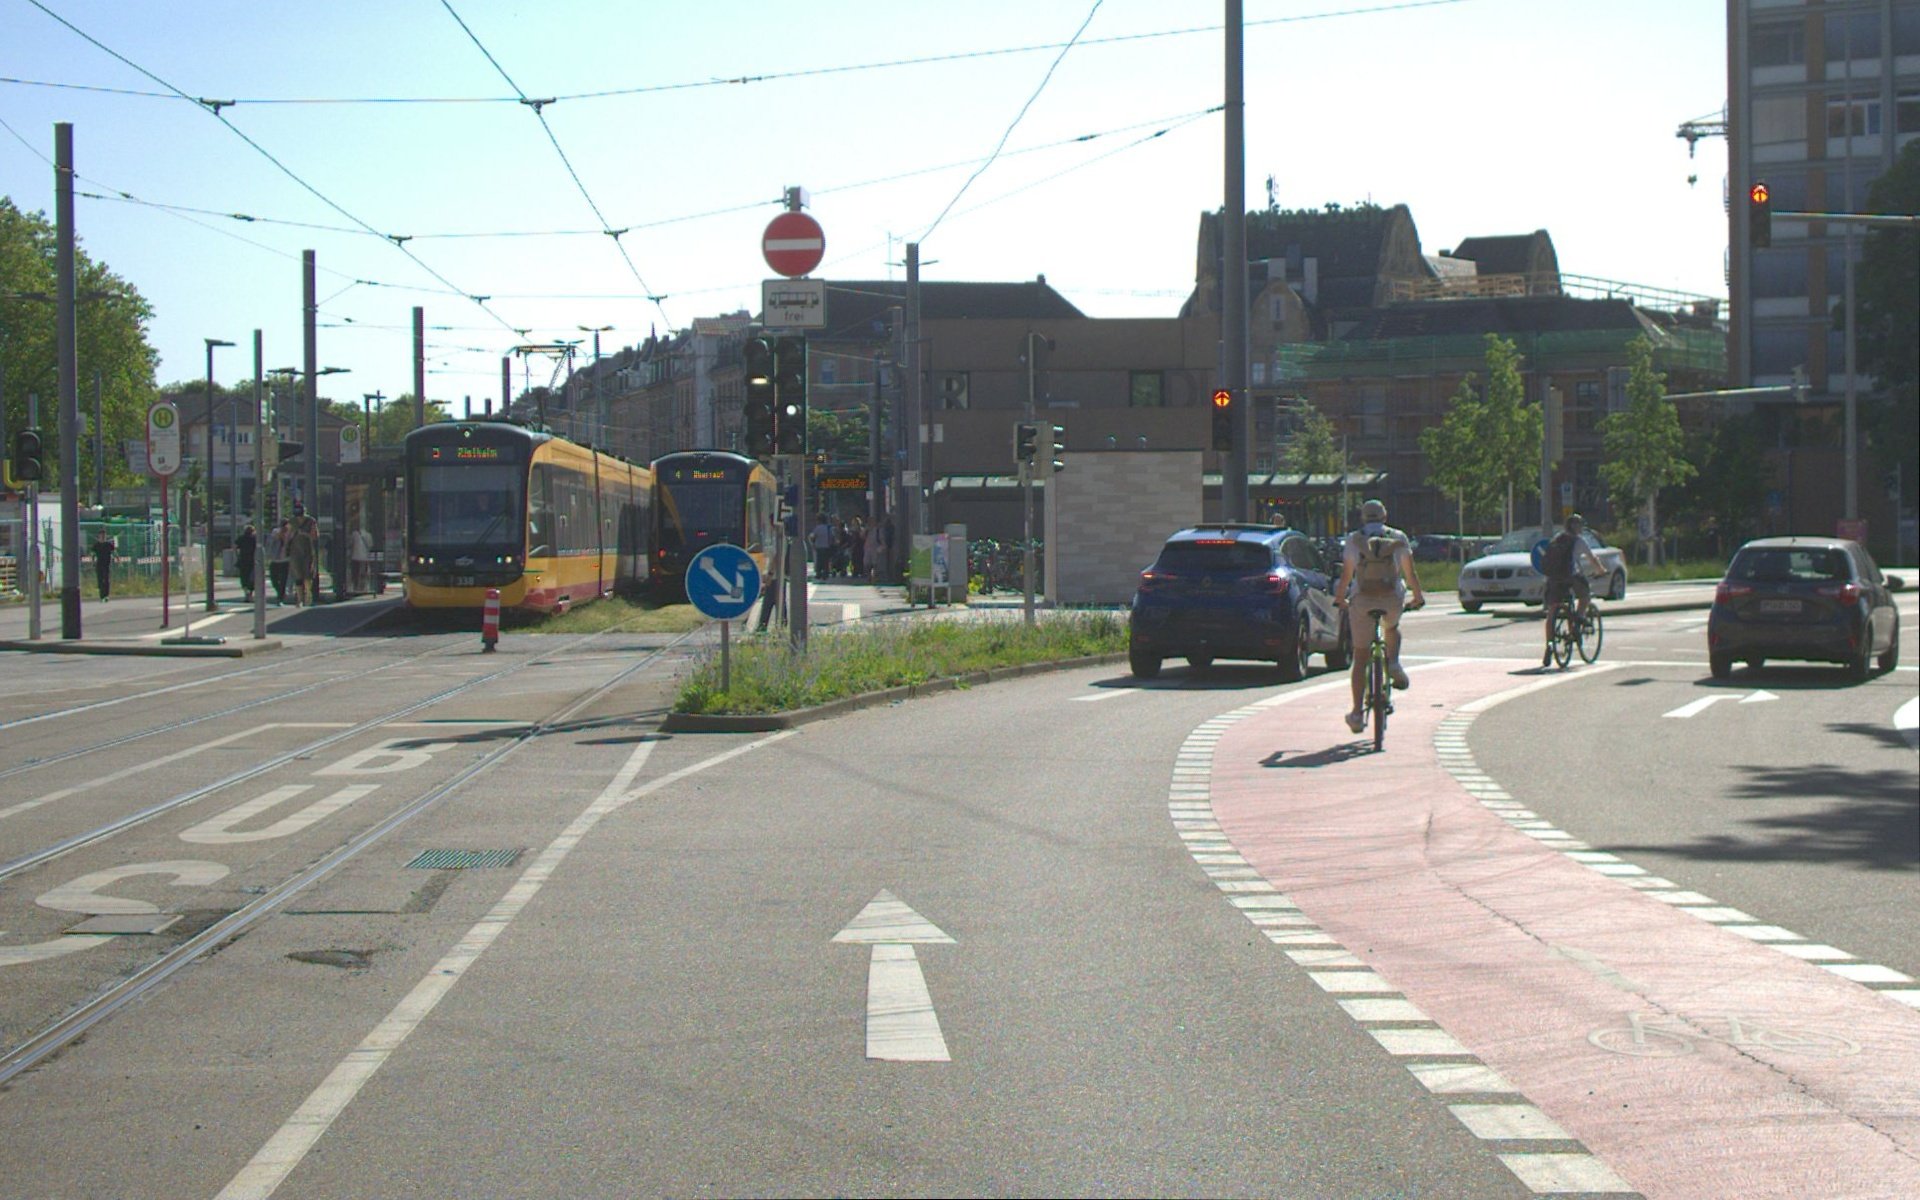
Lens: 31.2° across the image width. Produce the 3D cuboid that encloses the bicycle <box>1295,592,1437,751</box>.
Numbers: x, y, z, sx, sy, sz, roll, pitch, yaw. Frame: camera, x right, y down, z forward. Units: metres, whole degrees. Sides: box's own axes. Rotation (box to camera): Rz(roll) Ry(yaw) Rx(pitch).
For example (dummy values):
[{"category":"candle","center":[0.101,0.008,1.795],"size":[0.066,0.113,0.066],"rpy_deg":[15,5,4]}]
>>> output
[{"category":"bicycle","center":[3.058,0.515,25.771],"size":[0.705,1.101,1.716],"rpy_deg":[2,1,18]}]

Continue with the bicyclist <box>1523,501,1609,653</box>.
[{"category":"bicyclist","center":[6.922,-0.270,39.256],"size":[0.706,1.694,0.986],"rpy_deg":[3,2,23]}]

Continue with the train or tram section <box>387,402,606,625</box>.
[{"category":"train or tram section","center":[-8.274,-1.560,62.982],"size":[2.742,3.639,13.787],"rpy_deg":[0,1,-3]}]

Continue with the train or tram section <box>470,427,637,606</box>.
[{"category":"train or tram section","center":[-8.843,-1.827,76.104],"size":[2.742,3.639,12.546],"rpy_deg":[0,1,-3]}]

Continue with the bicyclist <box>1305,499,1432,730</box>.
[{"category":"bicyclist","center":[3.067,0.096,25.762],"size":[0.705,1.669,1.100],"rpy_deg":[2,1,18]}]

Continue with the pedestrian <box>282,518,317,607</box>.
[{"category":"pedestrian","center":[-13.536,-0.775,70.463],"size":[0.626,1.821,0.662],"rpy_deg":[0,1,-3]}]

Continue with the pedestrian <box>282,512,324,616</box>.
[{"category":"pedestrian","center":[-11.493,-0.633,60.190],"size":[0.626,1.821,0.662],"rpy_deg":[0,1,-3]}]

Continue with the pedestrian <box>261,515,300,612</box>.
[{"category":"pedestrian","center":[-12.875,-0.688,65.188],"size":[0.626,1.821,0.662],"rpy_deg":[0,1,-3]}]

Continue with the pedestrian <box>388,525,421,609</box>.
[{"category":"pedestrian","center":[-12.092,-0.710,74.882],"size":[0.626,1.821,0.662],"rpy_deg":[0,1,-3]}]

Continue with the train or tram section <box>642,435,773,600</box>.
[{"category":"train or tram section","center":[-5.965,-1.972,82.931],"size":[2.742,3.639,13.787],"rpy_deg":[0,1,-3]}]

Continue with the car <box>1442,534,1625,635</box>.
[{"category":"car","center":[9.861,-0.281,58.986],"size":[1.705,1.638,3.705],"rpy_deg":[2,1,33]}]

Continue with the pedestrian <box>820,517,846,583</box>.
[{"category":"pedestrian","center":[-3.772,-1.488,101.877],"size":[0.660,1.946,0.629],"rpy_deg":[0,1,-13]}]

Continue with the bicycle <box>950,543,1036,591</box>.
[{"category":"bicycle","center":[0.757,-0.766,79.270],"size":[1.933,1.099,0.599],"rpy_deg":[0,1,-4]}]

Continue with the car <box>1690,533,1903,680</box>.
[{"category":"car","center":[9.265,0.036,37.910],"size":[1.791,1.506,3.708],"rpy_deg":[1,1,21]}]

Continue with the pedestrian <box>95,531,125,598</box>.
[{"category":"pedestrian","center":[-21.632,-0.909,87.481],"size":[0.626,1.691,0.662],"rpy_deg":[0,1,-3]}]

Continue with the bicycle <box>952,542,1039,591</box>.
[{"category":"bicycle","center":[0.805,-0.758,78.502],"size":[1.933,1.099,0.599],"rpy_deg":[0,1,-4]}]

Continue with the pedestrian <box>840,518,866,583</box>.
[{"category":"pedestrian","center":[-3.227,-1.505,103.883],"size":[0.660,1.946,0.629],"rpy_deg":[0,1,-13]}]

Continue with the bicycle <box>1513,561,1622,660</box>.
[{"category":"bicycle","center":[6.981,0.103,39.426],"size":[0.706,1.051,2.311],"rpy_deg":[3,2,23]}]

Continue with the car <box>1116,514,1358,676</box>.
[{"category":"car","center":[2.999,-0.086,36.608],"size":[1.790,1.599,3.709],"rpy_deg":[1,1,17]}]
